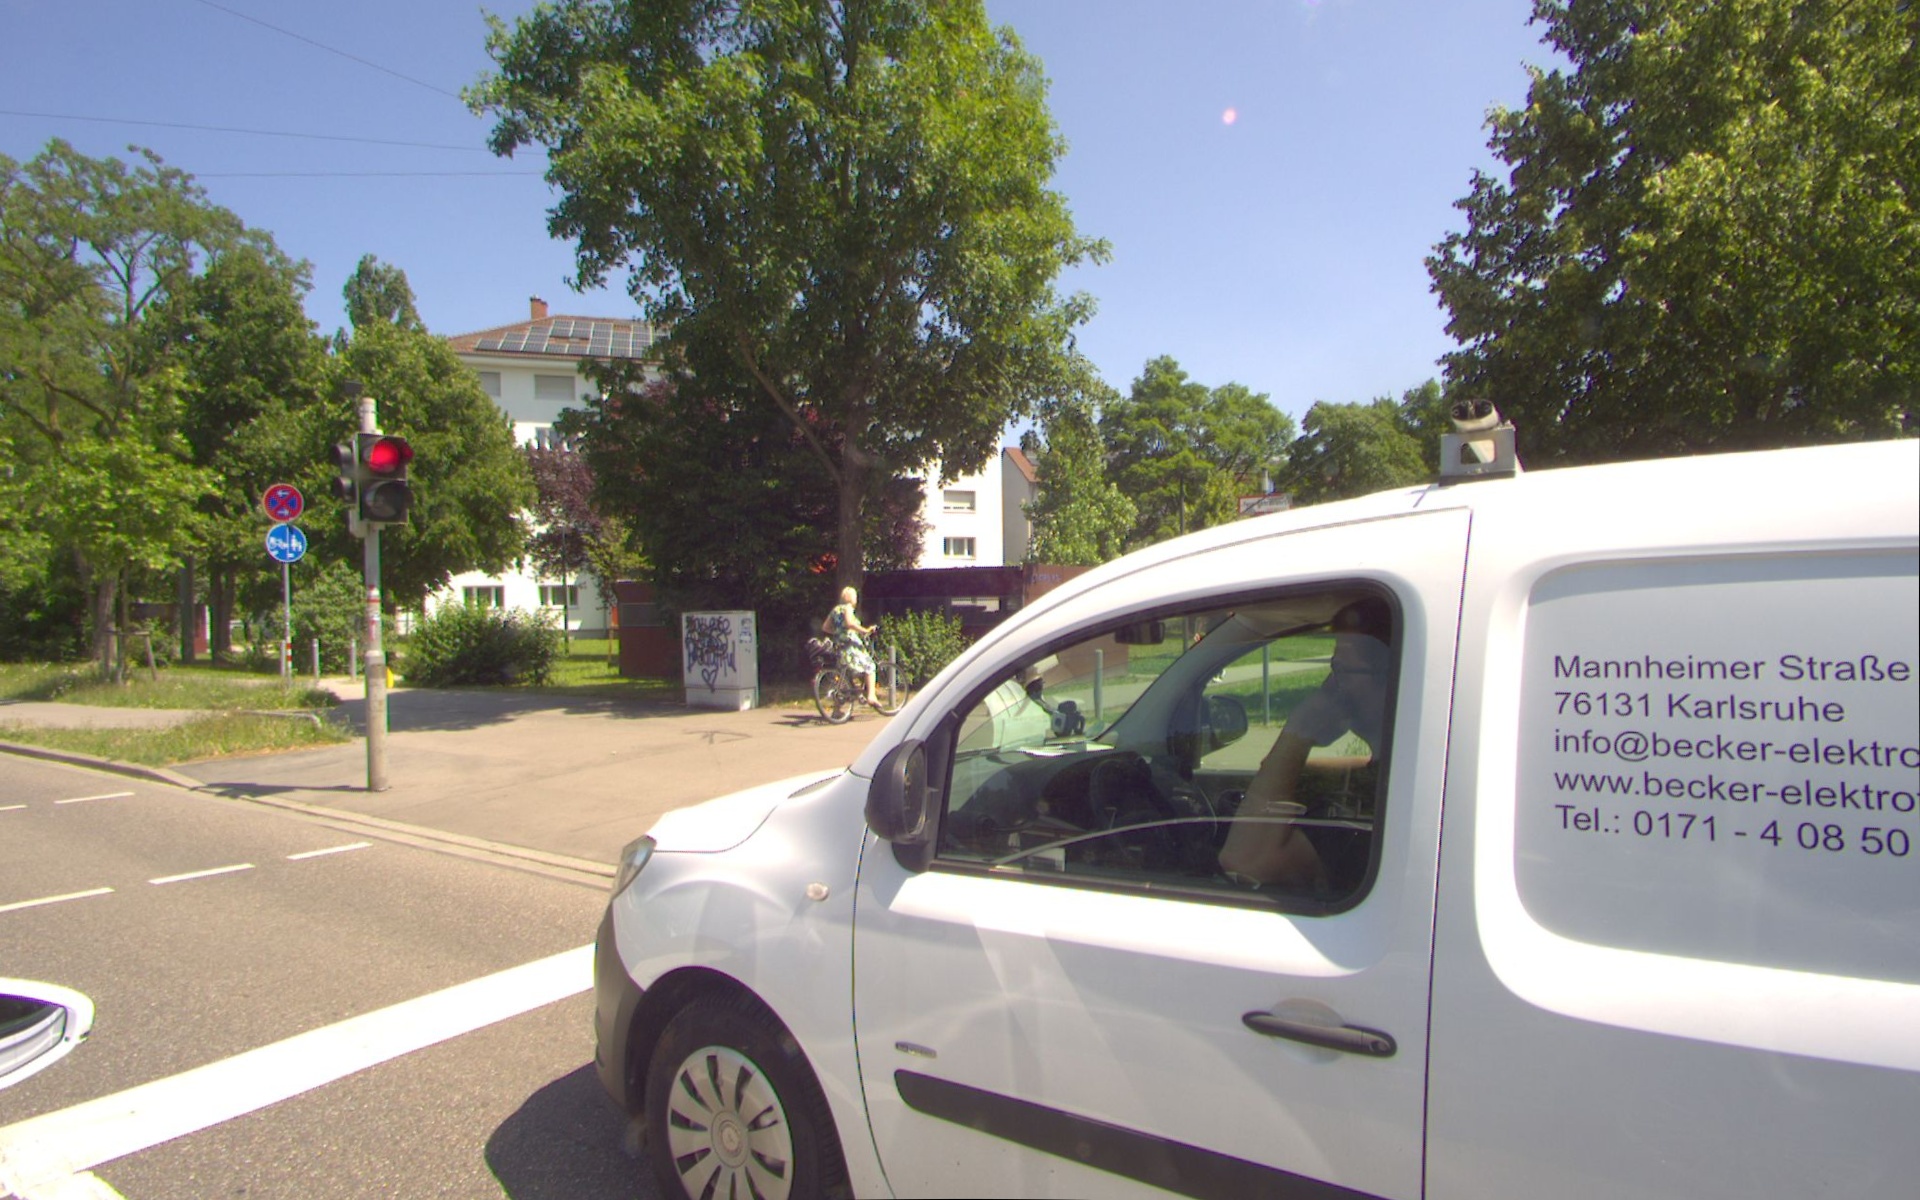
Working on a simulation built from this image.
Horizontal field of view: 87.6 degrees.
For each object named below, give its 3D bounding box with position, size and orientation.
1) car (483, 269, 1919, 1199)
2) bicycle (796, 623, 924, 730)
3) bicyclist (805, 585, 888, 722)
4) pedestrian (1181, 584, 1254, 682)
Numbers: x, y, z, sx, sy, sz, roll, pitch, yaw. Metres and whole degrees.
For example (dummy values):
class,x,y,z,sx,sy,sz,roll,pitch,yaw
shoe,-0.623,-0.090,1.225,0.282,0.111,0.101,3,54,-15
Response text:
class,x,y,z,sx,sy,sz,roll,pitch,yaw
car,1.122,0.566,2.305,4.384,1.850,1.990,-1,0,32
bicycle,-1.221,0.912,12.681,0.533,1.177,1.953,0,1,32
bicyclist,-1.449,0.651,12.886,0.572,1.689,0.955,0,2,32
pedestrian,4.957,0.622,19.266,1.177,1.801,0.832,-3,1,-45
